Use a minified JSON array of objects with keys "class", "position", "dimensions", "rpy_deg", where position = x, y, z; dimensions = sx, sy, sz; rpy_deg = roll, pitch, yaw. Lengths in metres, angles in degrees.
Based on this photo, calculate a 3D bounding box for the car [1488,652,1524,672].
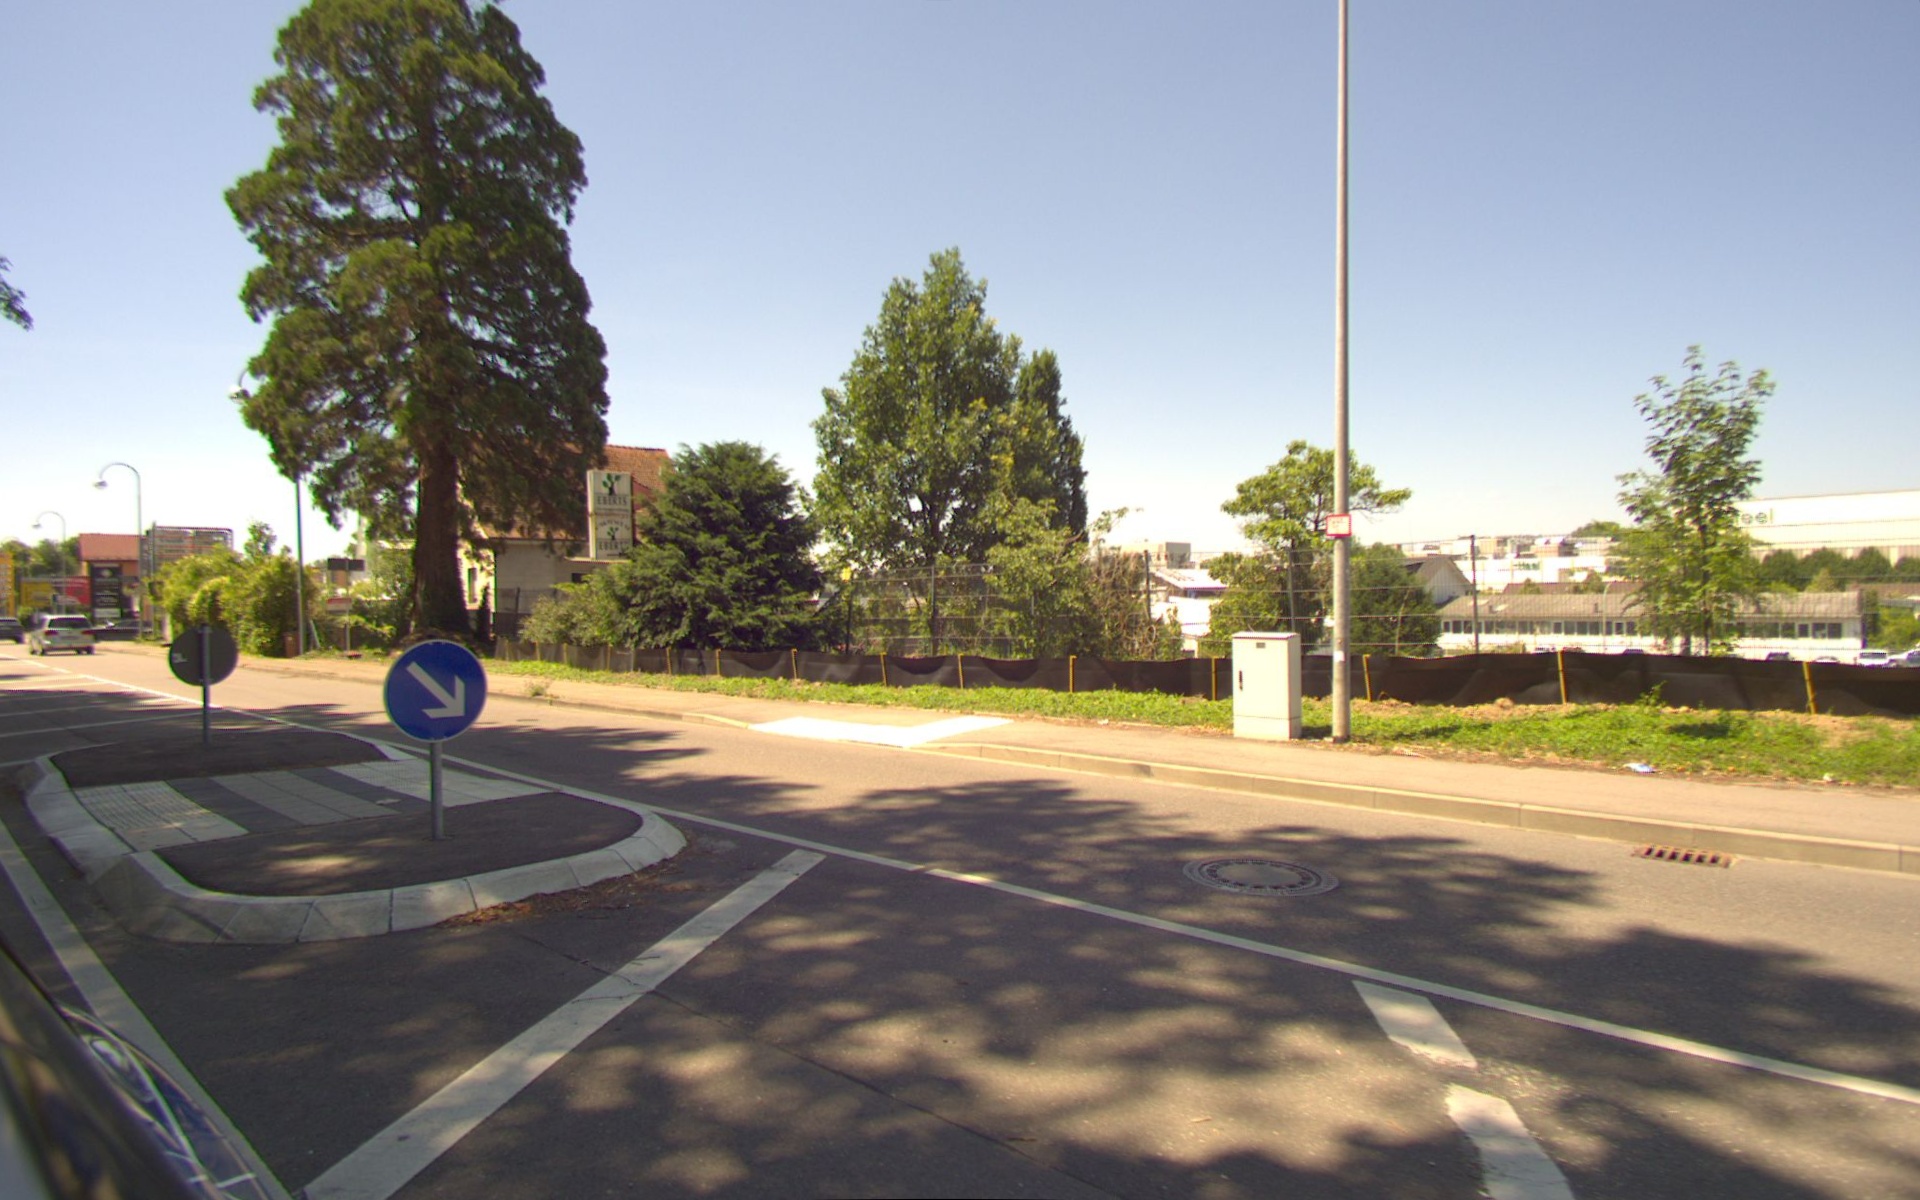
[{"class":"car","position":[51.345,5.814,95.189],"dimensions":[2.001,1.586,3.943],"rpy_deg":[-2,0,44]}]

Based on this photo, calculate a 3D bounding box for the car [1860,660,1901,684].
[{"class":"car","position":[69.914,5.442,76.893],"dimensions":[1.998,1.519,3.948],"rpy_deg":[-2,-1,38]}]

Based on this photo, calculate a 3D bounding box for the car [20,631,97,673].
[{"class":"car","position":[-37.851,2.130,42.453],"dimensions":[4.686,1.657,1.764],"rpy_deg":[-1,-2,41]}]

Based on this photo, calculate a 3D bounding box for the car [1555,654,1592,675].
[{"class":"car","position":[55.269,5.769,91.122],"dimensions":[2.001,1.586,3.943],"rpy_deg":[-2,0,44]}]

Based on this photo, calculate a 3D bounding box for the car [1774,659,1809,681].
[{"class":"car","position":[65.925,5.523,80.275],"dimensions":[1.998,1.519,3.948],"rpy_deg":[-2,-1,38]}]

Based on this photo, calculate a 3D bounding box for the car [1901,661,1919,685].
[{"class":"car","position":[71.295,5.405,74.984],"dimensions":[1.998,1.519,3.948],"rpy_deg":[-2,-1,38]}]

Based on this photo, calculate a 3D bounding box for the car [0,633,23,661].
[{"class":"car","position":[-56.423,2.734,59.244],"dimensions":[4.319,1.561,1.859],"rpy_deg":[-1,-1,41]}]

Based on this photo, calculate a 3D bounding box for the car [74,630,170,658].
[{"class":"car","position":[-51.183,2.678,61.924],"dimensions":[4.247,1.561,1.891],"rpy_deg":[0,-1,-30]}]
